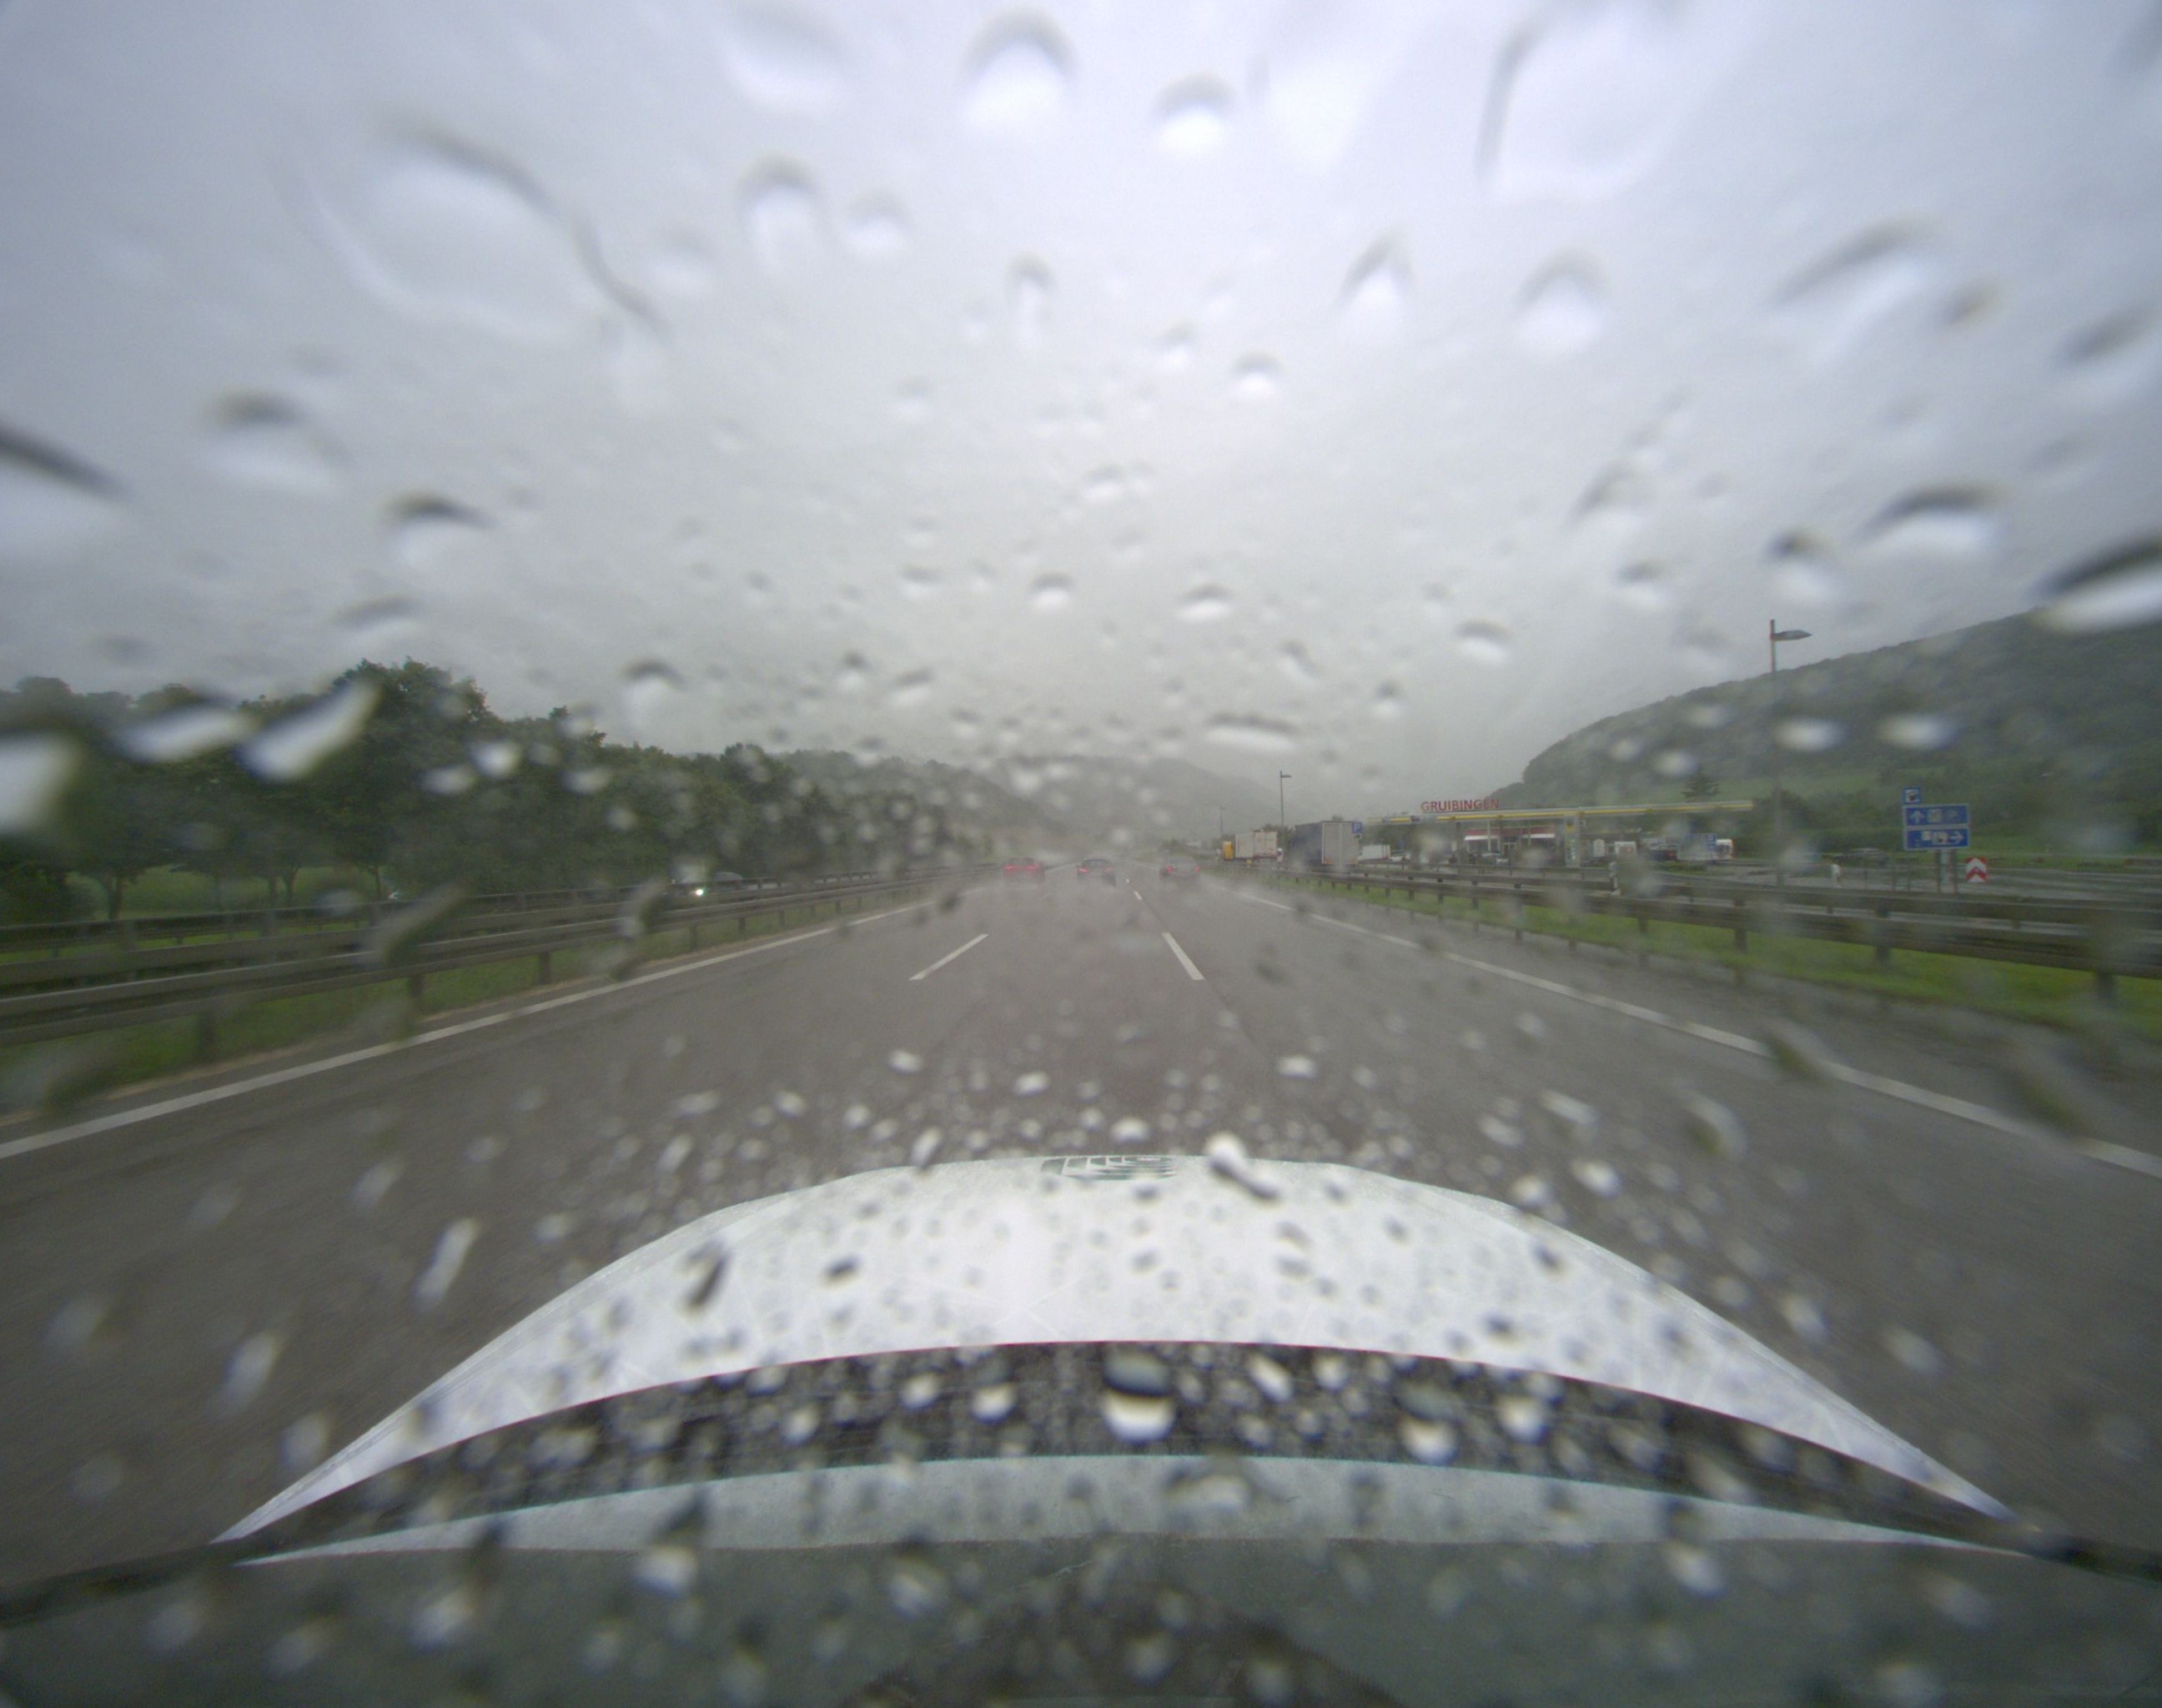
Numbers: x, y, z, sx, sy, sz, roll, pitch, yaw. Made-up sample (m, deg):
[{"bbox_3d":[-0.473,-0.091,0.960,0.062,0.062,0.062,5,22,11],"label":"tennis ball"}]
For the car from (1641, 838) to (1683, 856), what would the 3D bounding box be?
[{"bbox_3d":[65.332,-0.769,91.638,1.986,2.014,4.001,0,0,1],"label":"car"}]

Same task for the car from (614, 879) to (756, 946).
[{"bbox_3d":[-15.641,2.233,32.723,2.617,2.228,6.000,-1,0,2],"label":"car"}]

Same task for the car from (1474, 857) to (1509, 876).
[{"bbox_3d":[45.489,1.352,90.398,1.953,2.014,4.002,0,0,2],"label":"car"}]

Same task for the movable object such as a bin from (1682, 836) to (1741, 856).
[{"bbox_3d":[66.073,-0.807,85.436,2.158,2.014,5.384,0,0,1],"label":"movable object such as a bin"}]

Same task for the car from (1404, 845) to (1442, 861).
[{"bbox_3d":[49.182,-0.157,117.247,2.000,2.308,5.417,0,0,-19],"label":"car"}]

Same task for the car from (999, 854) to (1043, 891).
[{"bbox_3d":[-3.120,0.913,43.091,1.878,1.816,4.001,-1,0,1],"label":"car"}]

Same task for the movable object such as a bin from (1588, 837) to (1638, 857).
[{"bbox_3d":[58.810,-0.734,90.177,1.986,2.189,5.726,0,0,1],"label":"movable object such as a bin"}]

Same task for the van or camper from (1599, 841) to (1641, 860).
[{"bbox_3d":[58.761,-0.315,88.833,1.986,2.014,4.001,0,0,2],"label":"van or camper"}]

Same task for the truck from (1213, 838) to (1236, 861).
[{"bbox_3d":[19.979,-0.603,113.894,2.281,3.147,8.873,0,0,4],"label":"truck"}]

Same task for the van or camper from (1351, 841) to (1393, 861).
[{"bbox_3d":[44.937,-0.469,125.857,2.007,3.059,6.110,0,-1,-32],"label":"van or camper"}]

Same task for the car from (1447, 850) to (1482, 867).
[{"bbox_3d":[45.843,0.505,97.509,1.986,2.014,4.903,0,0,2],"label":"car"}]

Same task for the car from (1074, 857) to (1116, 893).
[{"bbox_3d":[0.716,0.949,38.345,1.852,1.589,4.002,0,0,2],"label":"car"}]

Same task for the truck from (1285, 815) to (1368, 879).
[{"bbox_3d":[18.183,-0.509,61.222,3.387,4.402,11.056,0,0,3],"label":"truck"}]

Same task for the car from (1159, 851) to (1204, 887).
[{"bbox_3d":[5.154,0.757,42.280,1.964,1.760,4.002,-1,0,2],"label":"car"}]

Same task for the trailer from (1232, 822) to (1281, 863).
[{"bbox_3d":[19.527,-1.146,91.398,3.501,4.261,11.929,0,0,3],"label":"trailer"}]

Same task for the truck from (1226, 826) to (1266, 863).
[{"bbox_3d":[19.854,-1.085,98.395,3.514,4.220,7.820,0,0,2],"label":"truck"}]
